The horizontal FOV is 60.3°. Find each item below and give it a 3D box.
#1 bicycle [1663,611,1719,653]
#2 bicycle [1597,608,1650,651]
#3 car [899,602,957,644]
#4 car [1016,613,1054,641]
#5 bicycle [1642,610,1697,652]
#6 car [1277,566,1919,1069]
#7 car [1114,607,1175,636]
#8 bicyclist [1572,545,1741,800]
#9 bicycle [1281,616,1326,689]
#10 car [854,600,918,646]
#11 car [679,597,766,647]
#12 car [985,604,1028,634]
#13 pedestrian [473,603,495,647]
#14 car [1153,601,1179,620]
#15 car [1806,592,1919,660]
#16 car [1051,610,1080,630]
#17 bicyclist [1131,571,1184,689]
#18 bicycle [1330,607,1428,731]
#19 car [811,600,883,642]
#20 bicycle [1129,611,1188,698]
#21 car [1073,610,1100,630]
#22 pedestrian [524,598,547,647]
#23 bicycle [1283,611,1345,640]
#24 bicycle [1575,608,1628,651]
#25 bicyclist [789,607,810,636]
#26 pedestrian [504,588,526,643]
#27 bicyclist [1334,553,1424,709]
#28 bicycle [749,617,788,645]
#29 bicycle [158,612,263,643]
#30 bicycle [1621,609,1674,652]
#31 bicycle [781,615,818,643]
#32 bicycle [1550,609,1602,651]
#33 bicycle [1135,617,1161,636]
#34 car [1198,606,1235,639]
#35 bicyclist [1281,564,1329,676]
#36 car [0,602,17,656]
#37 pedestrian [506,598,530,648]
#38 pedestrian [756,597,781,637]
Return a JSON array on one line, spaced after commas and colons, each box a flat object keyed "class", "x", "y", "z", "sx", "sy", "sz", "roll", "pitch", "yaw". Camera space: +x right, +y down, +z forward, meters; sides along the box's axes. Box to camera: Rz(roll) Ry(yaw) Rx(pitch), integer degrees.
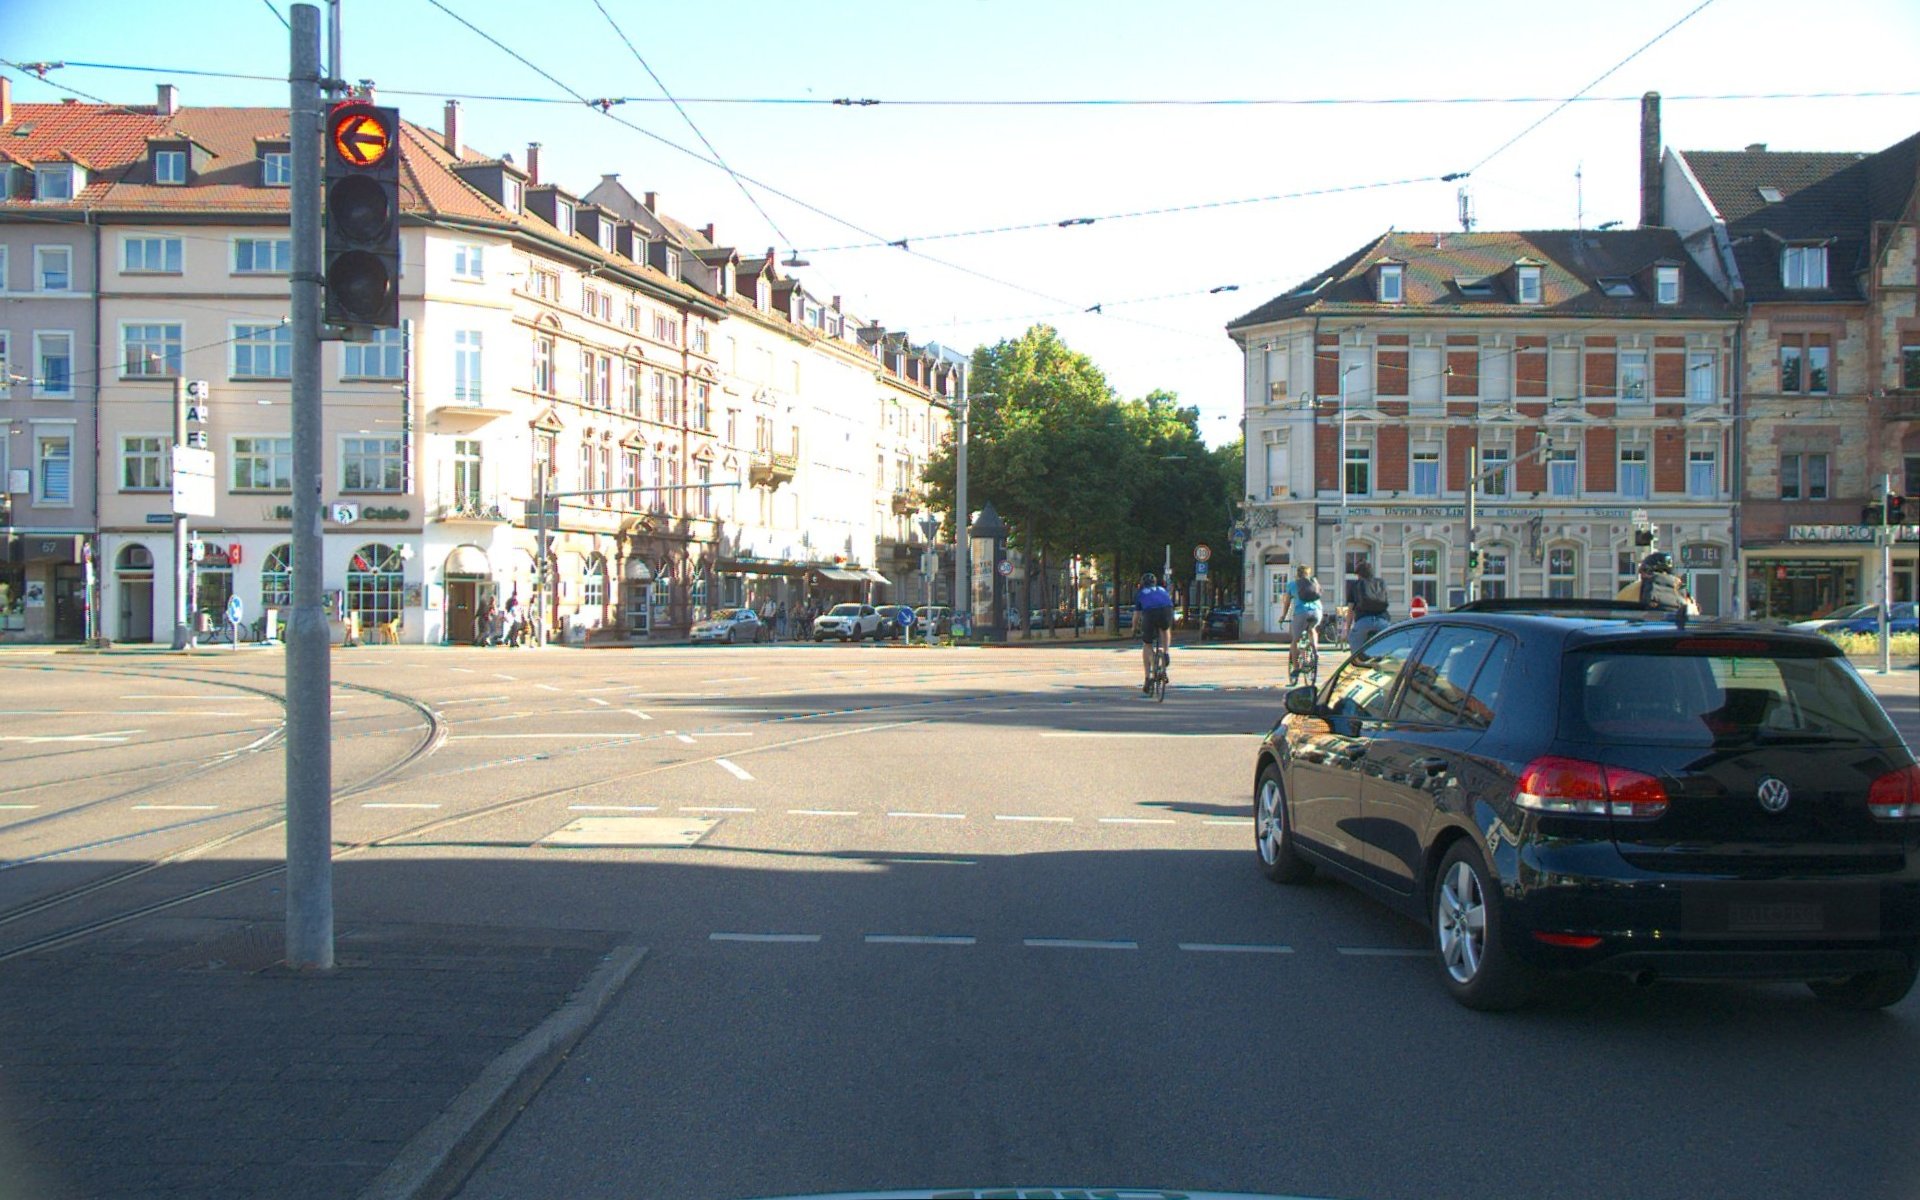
[{"class": "bicycle", "x": 23.479, "y": 1.001, "z": 53.179, "sx": 0.615, "sy": 1.309, "sz": 2.661, "roll": 1, "pitch": 0, "yaw": 0}, {"class": "bicycle", "x": 21.303, "y": 0.931, "z": 53.153, "sx": 0.615, "sy": 1.309, "sz": 2.661, "roll": 1, "pitch": 0, "yaw": 0}, {"class": "car", "x": -1.518, "y": 1.075, "z": 79.767, "sx": 1.951, "sy": 1.937, "sz": 4.003, "roll": 1, "pitch": 0, "yaw": 11}, {"class": "car", "x": 5.584, "y": 1.987, "z": 122.686, "sx": 1.951, "sy": 1.937, "sz": 4.002, "roll": 1, "pitch": 0, "yaw": 16}, {"class": "bicycle", "x": 22.795, "y": 0.987, "z": 53.180, "sx": 0.615, "sy": 1.309, "sz": 2.661, "roll": 1, "pitch": 0, "yaw": 0}, {"class": "car", "x": 2.663, "y": 0.653, "z": 7.245, "sx": 1.693, "sy": 1.534, "sz": 4.050, "roll": 1, "pitch": 2, "yaw": -1}, {"class": "car", "x": 12.845, "y": 1.476, "z": 115.156, "sx": 3.902, "sy": 1.937, "sz": 2.001, "roll": 1, "pitch": 0, "yaw": 15}, {"class": "bicyclist", "x": 4.820, "y": 0.489, "z": 11.499, "sx": 0.789, "sy": 1.692, "sz": 0.883, "roll": 1, "pitch": -1, "yaw": -1}, {"class": "bicycle", "x": 5.230, "y": 0.780, "z": 25.167, "sx": 0.635, "sy": 1.049, "sz": 1.772, "roll": 1, "pitch": 0, "yaw": 12}, {"class": "car", "x": -3.252, "y": 1.018, "z": 73.444, "sx": 1.951, "sy": 1.937, "sz": 4.003, "roll": 1, "pitch": 0, "yaw": 11}, {"class": "car", "x": -9.583, "y": 0.881, "z": 67.005, "sx": 1.951, "sy": 1.937, "sz": 4.002, "roll": 1, "pitch": 0, "yaw": 17}, {"class": "car", "x": 3.175, "y": 1.299, "z": 112.740, "sx": 1.951, "sy": 1.937, "sz": 4.002, "roll": 1, "pitch": 0, "yaw": 16}, {"class": "pedestrian", "x": -16.135, "y": 0.844, "z": 56.072, "sx": 0.620, "sy": 1.502, "sz": 0.465, "roll": 1, "pitch": -1, "yaw": -5}, {"class": "car", "x": 16.823, "y": 0.850, "z": 134.989, "sx": 1.526, "sy": 1.540, "sz": 3.658, "roll": 1, "pitch": 0, "yaw": 16}, {"class": "car", "x": 25.929, "y": 0.734, "z": 46.056, "sx": 3.706, "sy": 1.809, "sz": 1.999, "roll": 1, "pitch": 0, "yaw": -2}, {"class": "car", "x": 8.451, "y": 1.558, "z": 132.084, "sx": 1.526, "sy": 1.540, "sz": 3.658, "roll": 1, "pitch": 0, "yaw": 16}, {"class": "bicyclist", "x": 2.633, "y": 0.383, "z": 22.129, "sx": 0.625, "sy": 1.520, "sz": 0.884, "roll": 1, "pitch": 1, "yaw": 3}, {"class": "bicycle", "x": 4.495, "y": 0.712, "z": 17.858, "sx": 0.739, "sy": 1.258, "sz": 1.704, "roll": 1, "pitch": 0, "yaw": 5}, {"class": "car", "x": -4.577, "y": 0.835, "z": 67.392, "sx": 1.951, "sy": 1.646, "sz": 4.003, "roll": 1, "pitch": 0, "yaw": 11}, {"class": "bicycle", "x": 2.628, "y": 0.705, "z": 22.011, "sx": 0.613, "sy": 1.104, "sz": 1.703, "roll": 1, "pitch": 0, "yaw": 2}, {"class": "car", "x": 10.425, "y": 1.628, "z": 136.083, "sx": 1.526, "sy": 1.540, "sz": 3.658, "roll": 1, "pitch": 0, "yaw": 16}, {"class": "pedestrian", "x": -14.632, "y": 0.766, "z": 57.038, "sx": 0.620, "sy": 1.662, "sz": 0.700, "roll": 1, "pitch": -1, "yaw": -4}, {"class": "bicycle", "x": 12.252, "y": 0.884, "z": 57.279, "sx": 2.006, "sy": 1.015, "sz": 0.631, "roll": 0, "pitch": -1, "yaw": 2}, {"class": "bicycle", "x": 20.592, "y": 0.929, "z": 53.132, "sx": 0.678, "sy": 1.309, "sz": 2.661, "roll": 1, "pitch": 0, "yaw": 0}, {"class": "bicyclist", "x": -6.811, "y": 0.924, "z": 70.210, "sx": 0.618, "sy": 1.205, "sz": 0.685, "roll": 1, "pitch": -1, "yaw": 20}, {"class": "pedestrian", "x": -15.447, "y": 0.532, "z": 57.465, "sx": 0.620, "sy": 1.914, "sz": 0.465, "roll": 1, "pitch": -1, "yaw": -5}, {"class": "bicyclist", "x": 4.507, "y": 0.326, "z": 17.830, "sx": 0.789, "sy": 1.634, "sz": 0.884, "roll": 1, "pitch": -1, "yaw": 5}, {"class": "bicycle", "x": -7.533, "y": 1.211, "z": 65.162, "sx": 0.746, "sy": 1.025, "sz": 2.398, "roll": 1, "pitch": 0, "yaw": 13}, {"class": "bicycle", "x": -25.520, "y": 0.945, "z": 56.354, "sx": 3.066, "sy": 0.997, "sz": 1.001, "roll": 1, "pitch": 0, "yaw": -1}, {"class": "bicycle", "x": 22.080, "y": 0.966, "z": 53.156, "sx": 0.615, "sy": 1.309, "sz": 2.661, "roll": 1, "pitch": 0, "yaw": 0}, {"class": "bicycle", "x": -6.800, "y": 1.221, "z": 70.308, "sx": 0.637, "sy": 1.142, "sz": 2.253, "roll": 1, "pitch": 0, "yaw": 20}, {"class": "bicycle", "x": 19.781, "y": 0.947, "z": 53.138, "sx": 0.678, "sy": 1.309, "sz": 2.661, "roll": 1, "pitch": 0, "yaw": 0}, {"class": "bicycle", "x": 11.276, "y": 1.581, "z": 99.227, "sx": 0.619, "sy": 1.104, "sz": 1.685, "roll": 1, "pitch": 0, "yaw": -31}, {"class": "car", "x": 12.864, "y": 1.133, "z": 82.780, "sx": 1.655, "sy": 1.592, "sz": 3.844, "roll": 1, "pitch": 0, "yaw": 11}, {"class": "bicyclist", "x": 5.224, "y": 0.297, "z": 25.048, "sx": 0.675, "sy": 1.662, "sz": 0.884, "roll": 1, "pitch": -1, "yaw": 11}, {"class": "car", "x": -32.390, "y": 0.915, "z": 52.432, "sx": 3.902, "sy": 1.699, "sz": 2.002, "roll": 0, "pitch": 0, "yaw": 8}, {"class": "pedestrian", "x": -14.864, "y": 0.772, "z": 55.674, "sx": 0.620, "sy": 1.662, "sz": 0.700, "roll": 1, "pitch": -1, "yaw": -4}, {"class": "pedestrian", "x": -7.545, "y": 0.672, "z": 65.091, "sx": 0.803, "sy": 1.539, "sz": 0.598, "roll": 1, "pitch": -1, "yaw": 14}]
